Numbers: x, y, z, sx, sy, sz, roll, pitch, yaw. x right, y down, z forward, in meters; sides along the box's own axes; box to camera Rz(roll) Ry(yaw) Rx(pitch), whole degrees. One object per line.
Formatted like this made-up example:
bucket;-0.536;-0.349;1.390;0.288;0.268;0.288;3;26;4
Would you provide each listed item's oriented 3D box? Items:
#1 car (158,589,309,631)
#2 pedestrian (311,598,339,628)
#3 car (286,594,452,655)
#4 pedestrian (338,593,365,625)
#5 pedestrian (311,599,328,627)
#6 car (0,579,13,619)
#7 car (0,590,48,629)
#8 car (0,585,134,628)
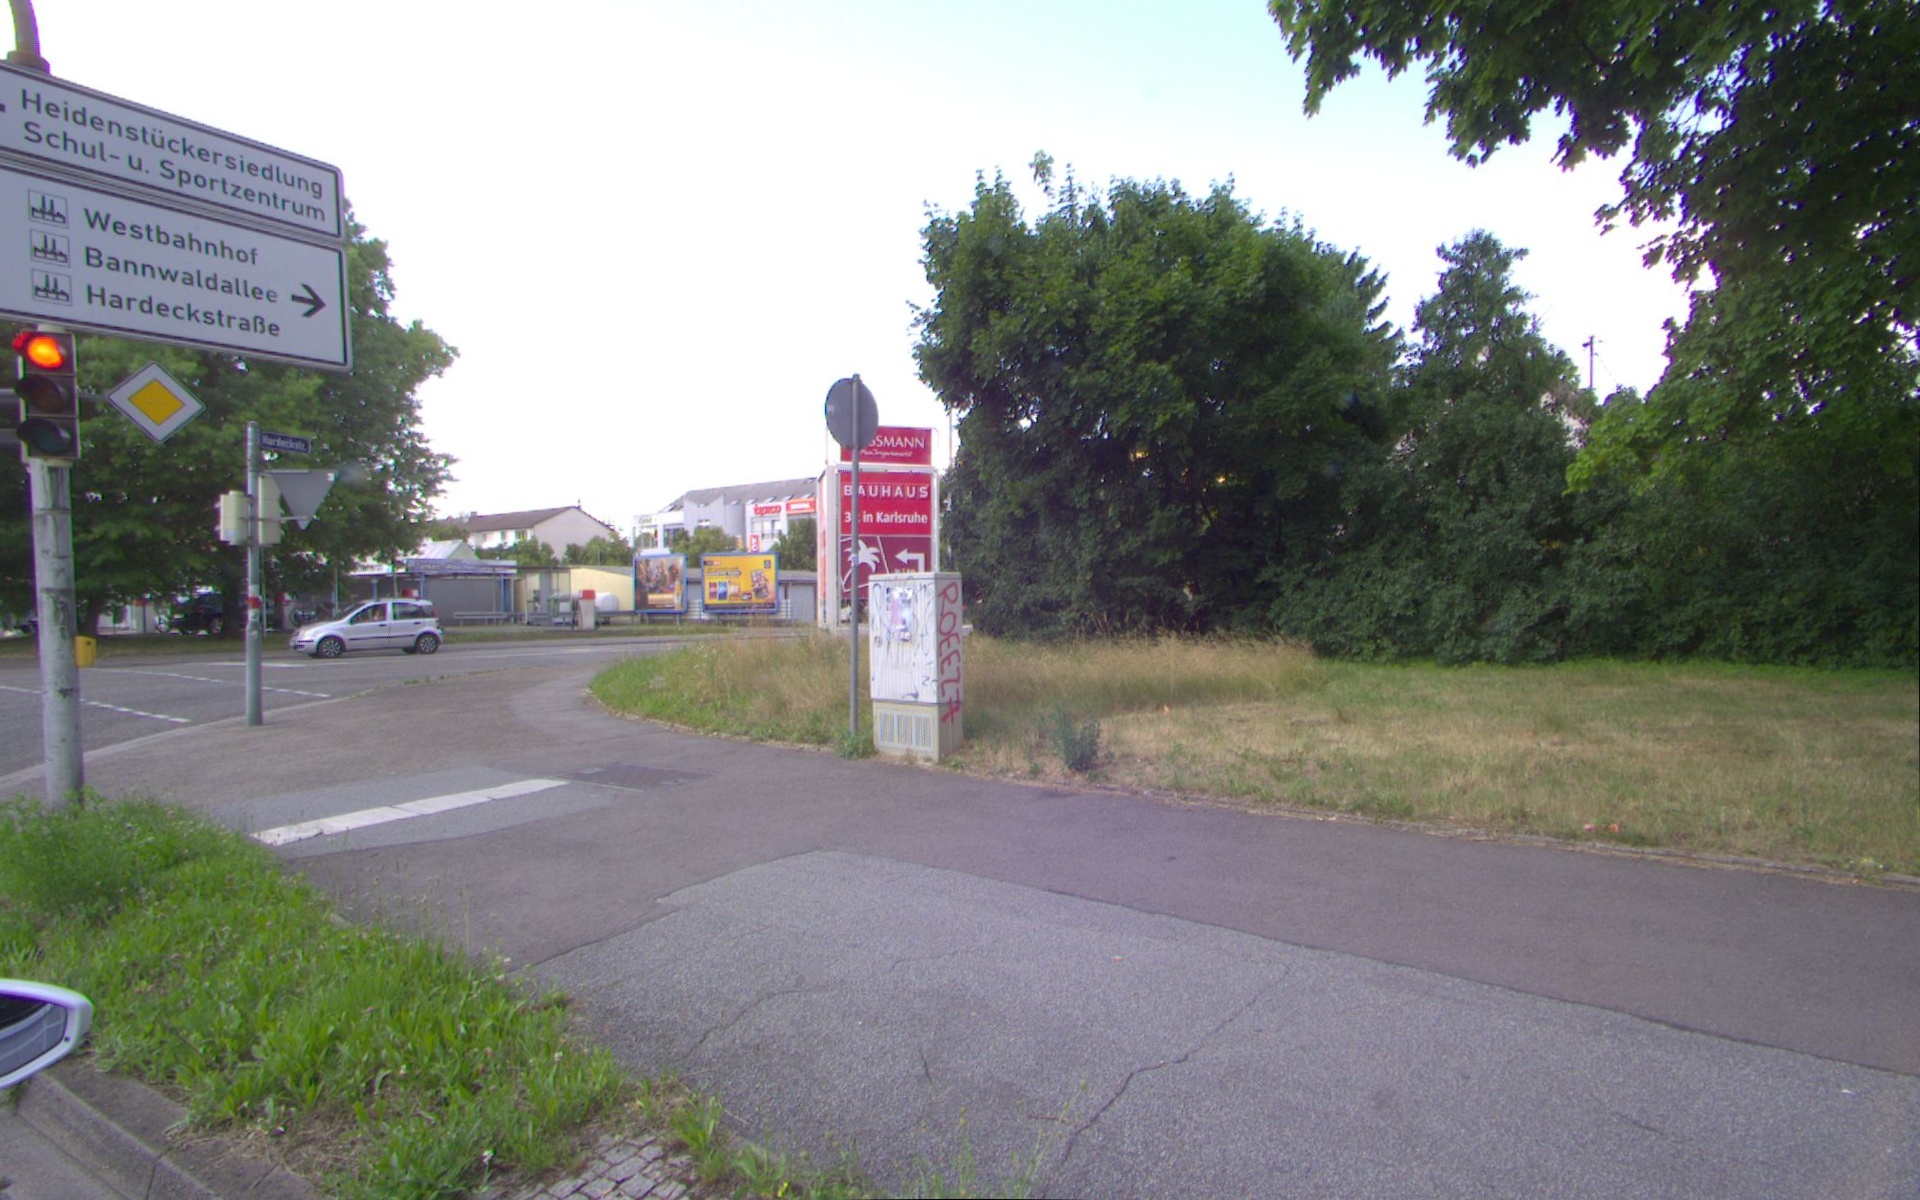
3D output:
car;-29.486;0.382;40.832;2.117;1.617;4.552;-1;0;22
pedestrian;-25.255;0.521;39.837;0.752;1.205;0.645;0;-1;-12
car;-15.801;0.613;26.872;1.543;1.537;3.574;0;0;45
pedestrian;-24.381;0.355;40.127;0.752;1.271;0.645;0;-1;-12
pedestrian;-36.398;0.744;56.919;0.616;1.565;0.651;0;1;39
car;-61.289;-0.023;62.417;5.665;2.486;1.747;-1;1;31
car;-50.139;0.501;50.904;2.121;2.031;5.174;0;0;29
car;-40.964;0.270;45.251;2.117;1.851;5.184;-1;0;22
